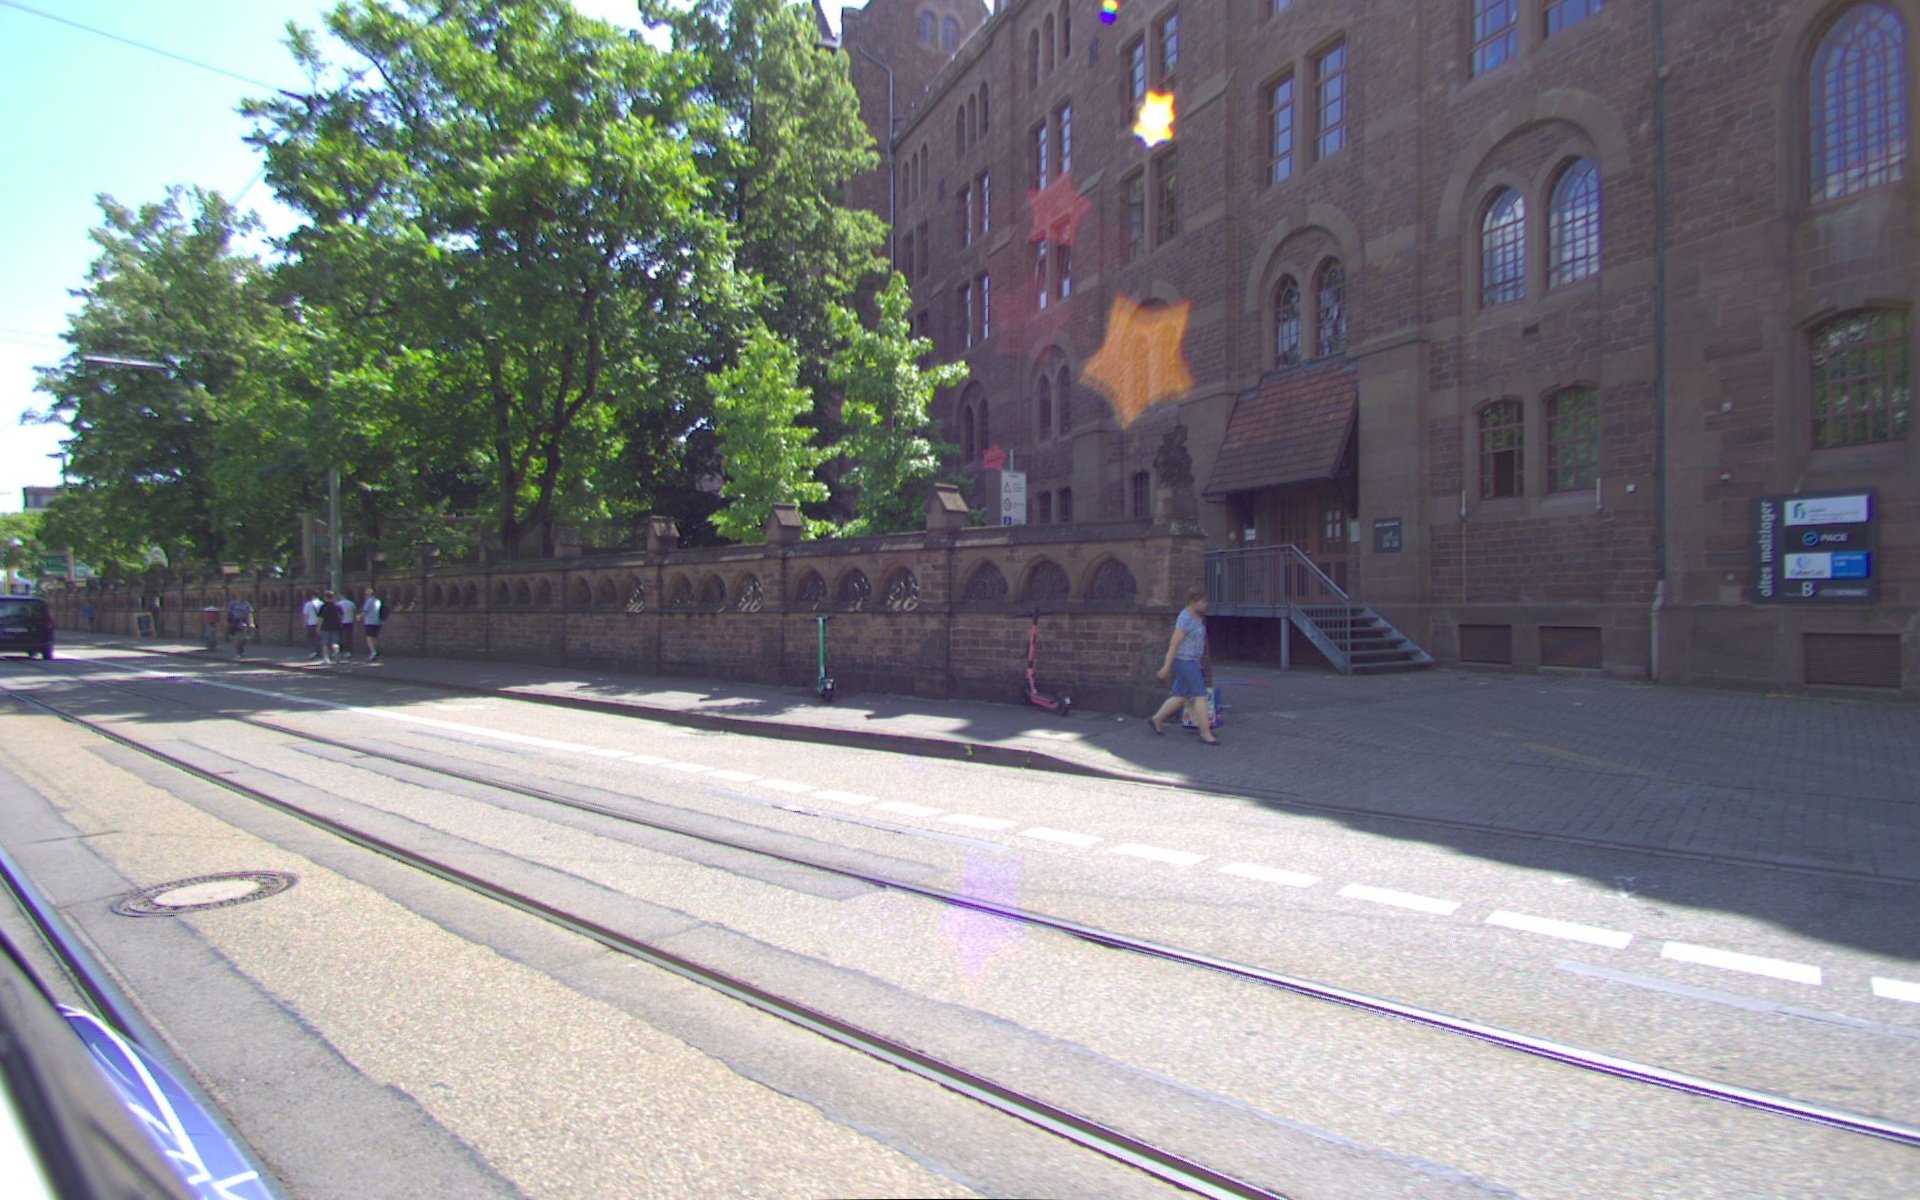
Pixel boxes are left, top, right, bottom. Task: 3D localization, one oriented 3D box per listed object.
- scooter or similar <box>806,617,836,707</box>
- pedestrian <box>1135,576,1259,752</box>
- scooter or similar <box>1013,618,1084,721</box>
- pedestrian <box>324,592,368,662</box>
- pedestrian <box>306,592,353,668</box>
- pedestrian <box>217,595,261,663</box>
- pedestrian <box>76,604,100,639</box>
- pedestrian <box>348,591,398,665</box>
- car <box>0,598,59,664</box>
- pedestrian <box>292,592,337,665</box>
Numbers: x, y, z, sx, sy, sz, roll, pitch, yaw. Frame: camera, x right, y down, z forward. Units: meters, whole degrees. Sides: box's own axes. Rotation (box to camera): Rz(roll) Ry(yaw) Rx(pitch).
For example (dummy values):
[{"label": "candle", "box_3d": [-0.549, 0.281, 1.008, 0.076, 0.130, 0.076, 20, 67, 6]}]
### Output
[{"label": "scooter or similar", "box_3d": [-1.906, 0.827, 13.959, 0.343, 1.135, 1.227, -1, 2, -6]}, {"label": "pedestrian", "box_3d": [2.371, 0.593, 10.128, 0.919, 1.600, 0.791, 4, 5, 40]}, {"label": "scooter or similar", "box_3d": [1.036, 0.798, 12.086, 0.324, 1.135, 1.227, -1, 0, -21]}, {"label": "pedestrian", "box_3d": [-16.279, 0.701, 26.823, 0.919, 1.789, 0.670, -1, 2, 41]}, {"label": "pedestrian", "box_3d": [-15.284, 0.715, 24.530, 0.919, 1.761, 0.670, -1, 2, 41]}, {"label": "pedestrian", "box_3d": [-19.942, 0.791, 27.989, 0.919, 1.805, 0.714, -1, 2, 41]}, {"label": "pedestrian", "box_3d": [-44.411, 1.086, 51.537, 0.919, 1.761, 0.741, -1, 1, 41]}, {"label": "pedestrian", "box_3d": [-14.666, 0.681, 25.290, 0.919, 1.789, 0.745, -1, 2, 41]}, {"label": "car", "box_3d": [-27.593, 0.878, 29.182, 4.253, 1.802, 1.885, -1, -1, 41]}, {"label": "pedestrian", "box_3d": [-16.667, 0.728, 26.122, 0.919, 1.803, 0.670, -1, 2, 41]}]
